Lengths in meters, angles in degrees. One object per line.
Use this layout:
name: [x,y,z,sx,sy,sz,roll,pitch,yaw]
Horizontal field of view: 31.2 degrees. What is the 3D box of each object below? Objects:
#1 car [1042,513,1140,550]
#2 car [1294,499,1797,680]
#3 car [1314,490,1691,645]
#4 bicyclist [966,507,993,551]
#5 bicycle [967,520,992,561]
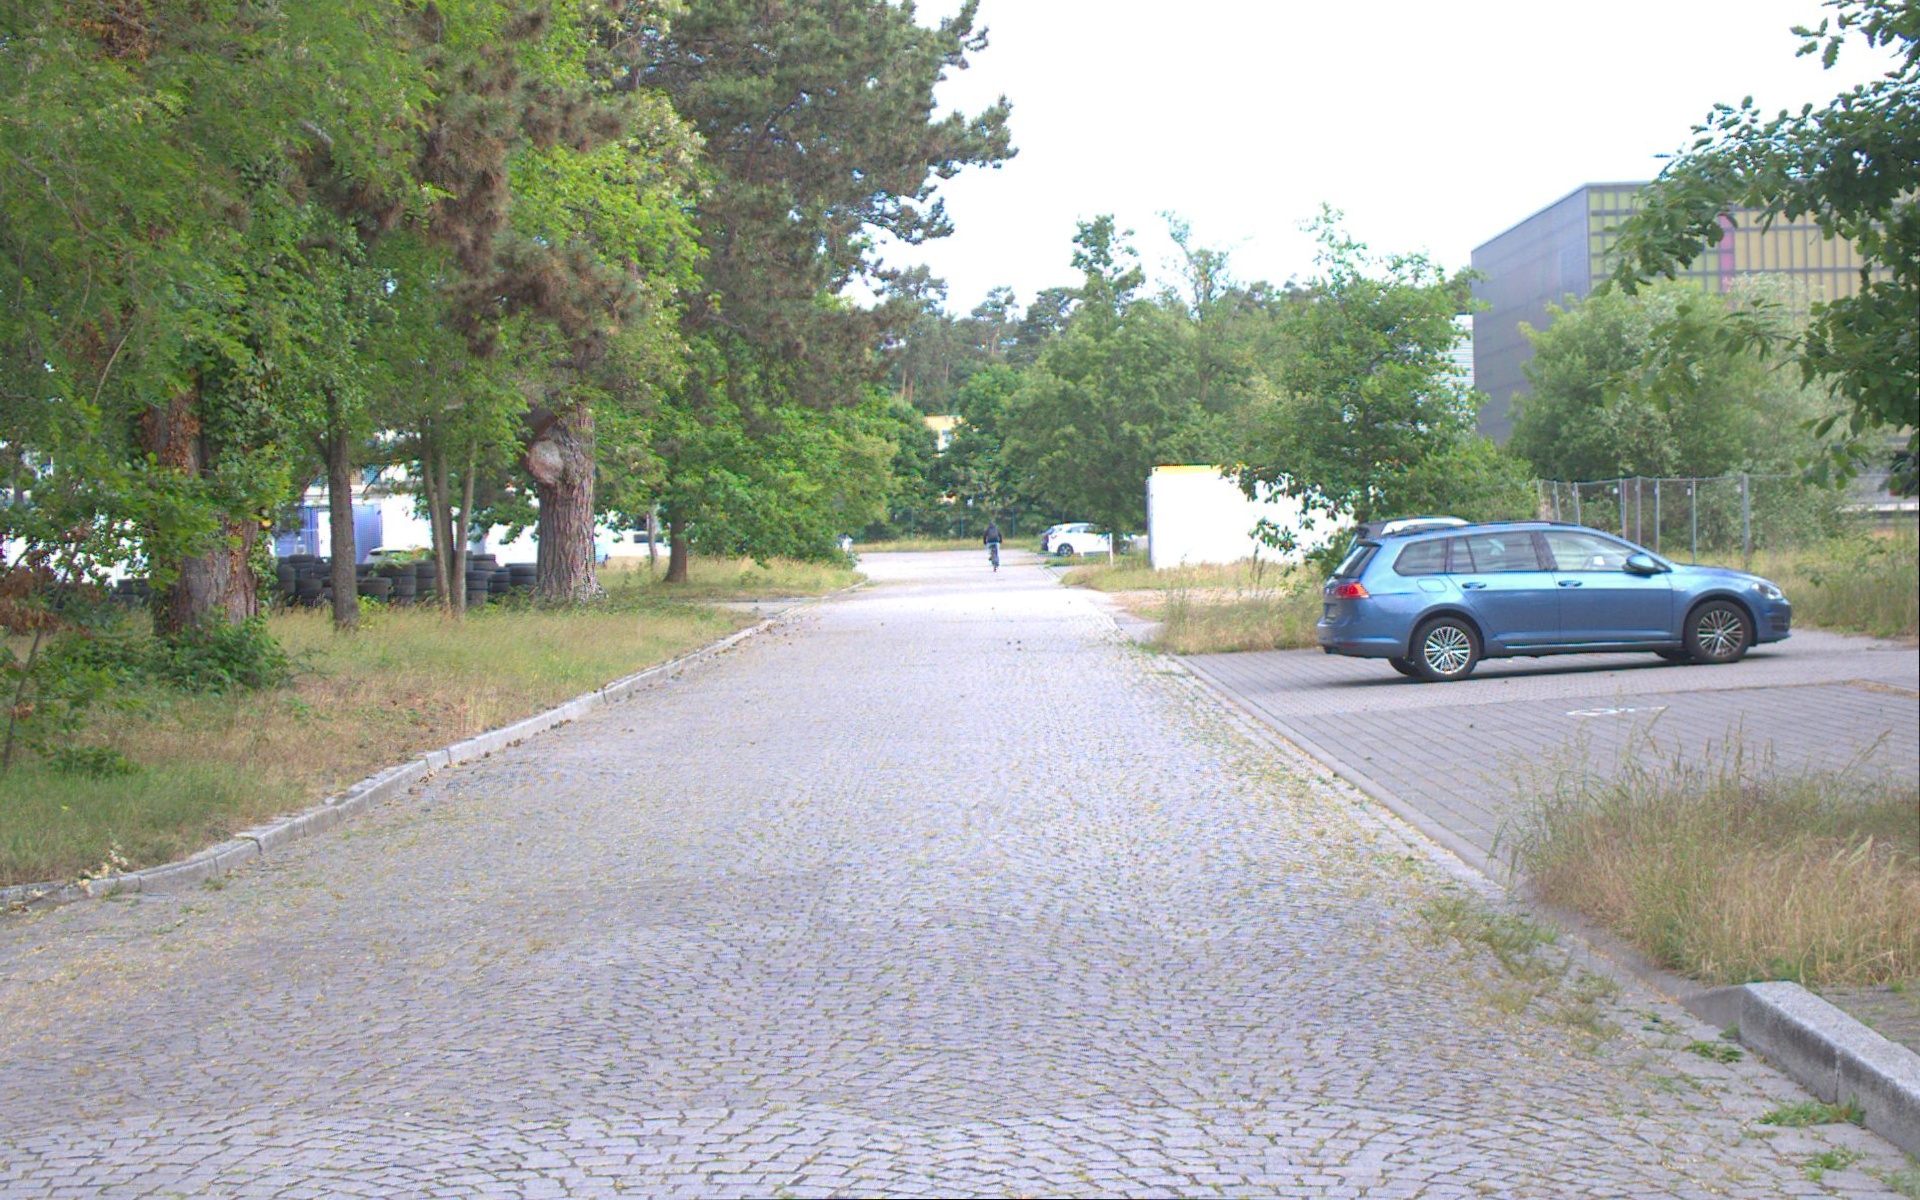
car: [5.825,-3.054,153.383,4.322,1.544,2.000,-1,1,2]
car: [5.652,-0.124,33.583,4.480,1.457,1.935,-3,1,-2]
car: [6.430,-0.403,41.024,4.107,1.567,1.765,-3,1,-2]
bicyclist: [0.676,-2.509,121.616,0.897,1.536,0.868,-1,2,-1]
bicycle: [0.689,-2.097,121.586,0.823,1.372,2.043,-1,2,-1]
